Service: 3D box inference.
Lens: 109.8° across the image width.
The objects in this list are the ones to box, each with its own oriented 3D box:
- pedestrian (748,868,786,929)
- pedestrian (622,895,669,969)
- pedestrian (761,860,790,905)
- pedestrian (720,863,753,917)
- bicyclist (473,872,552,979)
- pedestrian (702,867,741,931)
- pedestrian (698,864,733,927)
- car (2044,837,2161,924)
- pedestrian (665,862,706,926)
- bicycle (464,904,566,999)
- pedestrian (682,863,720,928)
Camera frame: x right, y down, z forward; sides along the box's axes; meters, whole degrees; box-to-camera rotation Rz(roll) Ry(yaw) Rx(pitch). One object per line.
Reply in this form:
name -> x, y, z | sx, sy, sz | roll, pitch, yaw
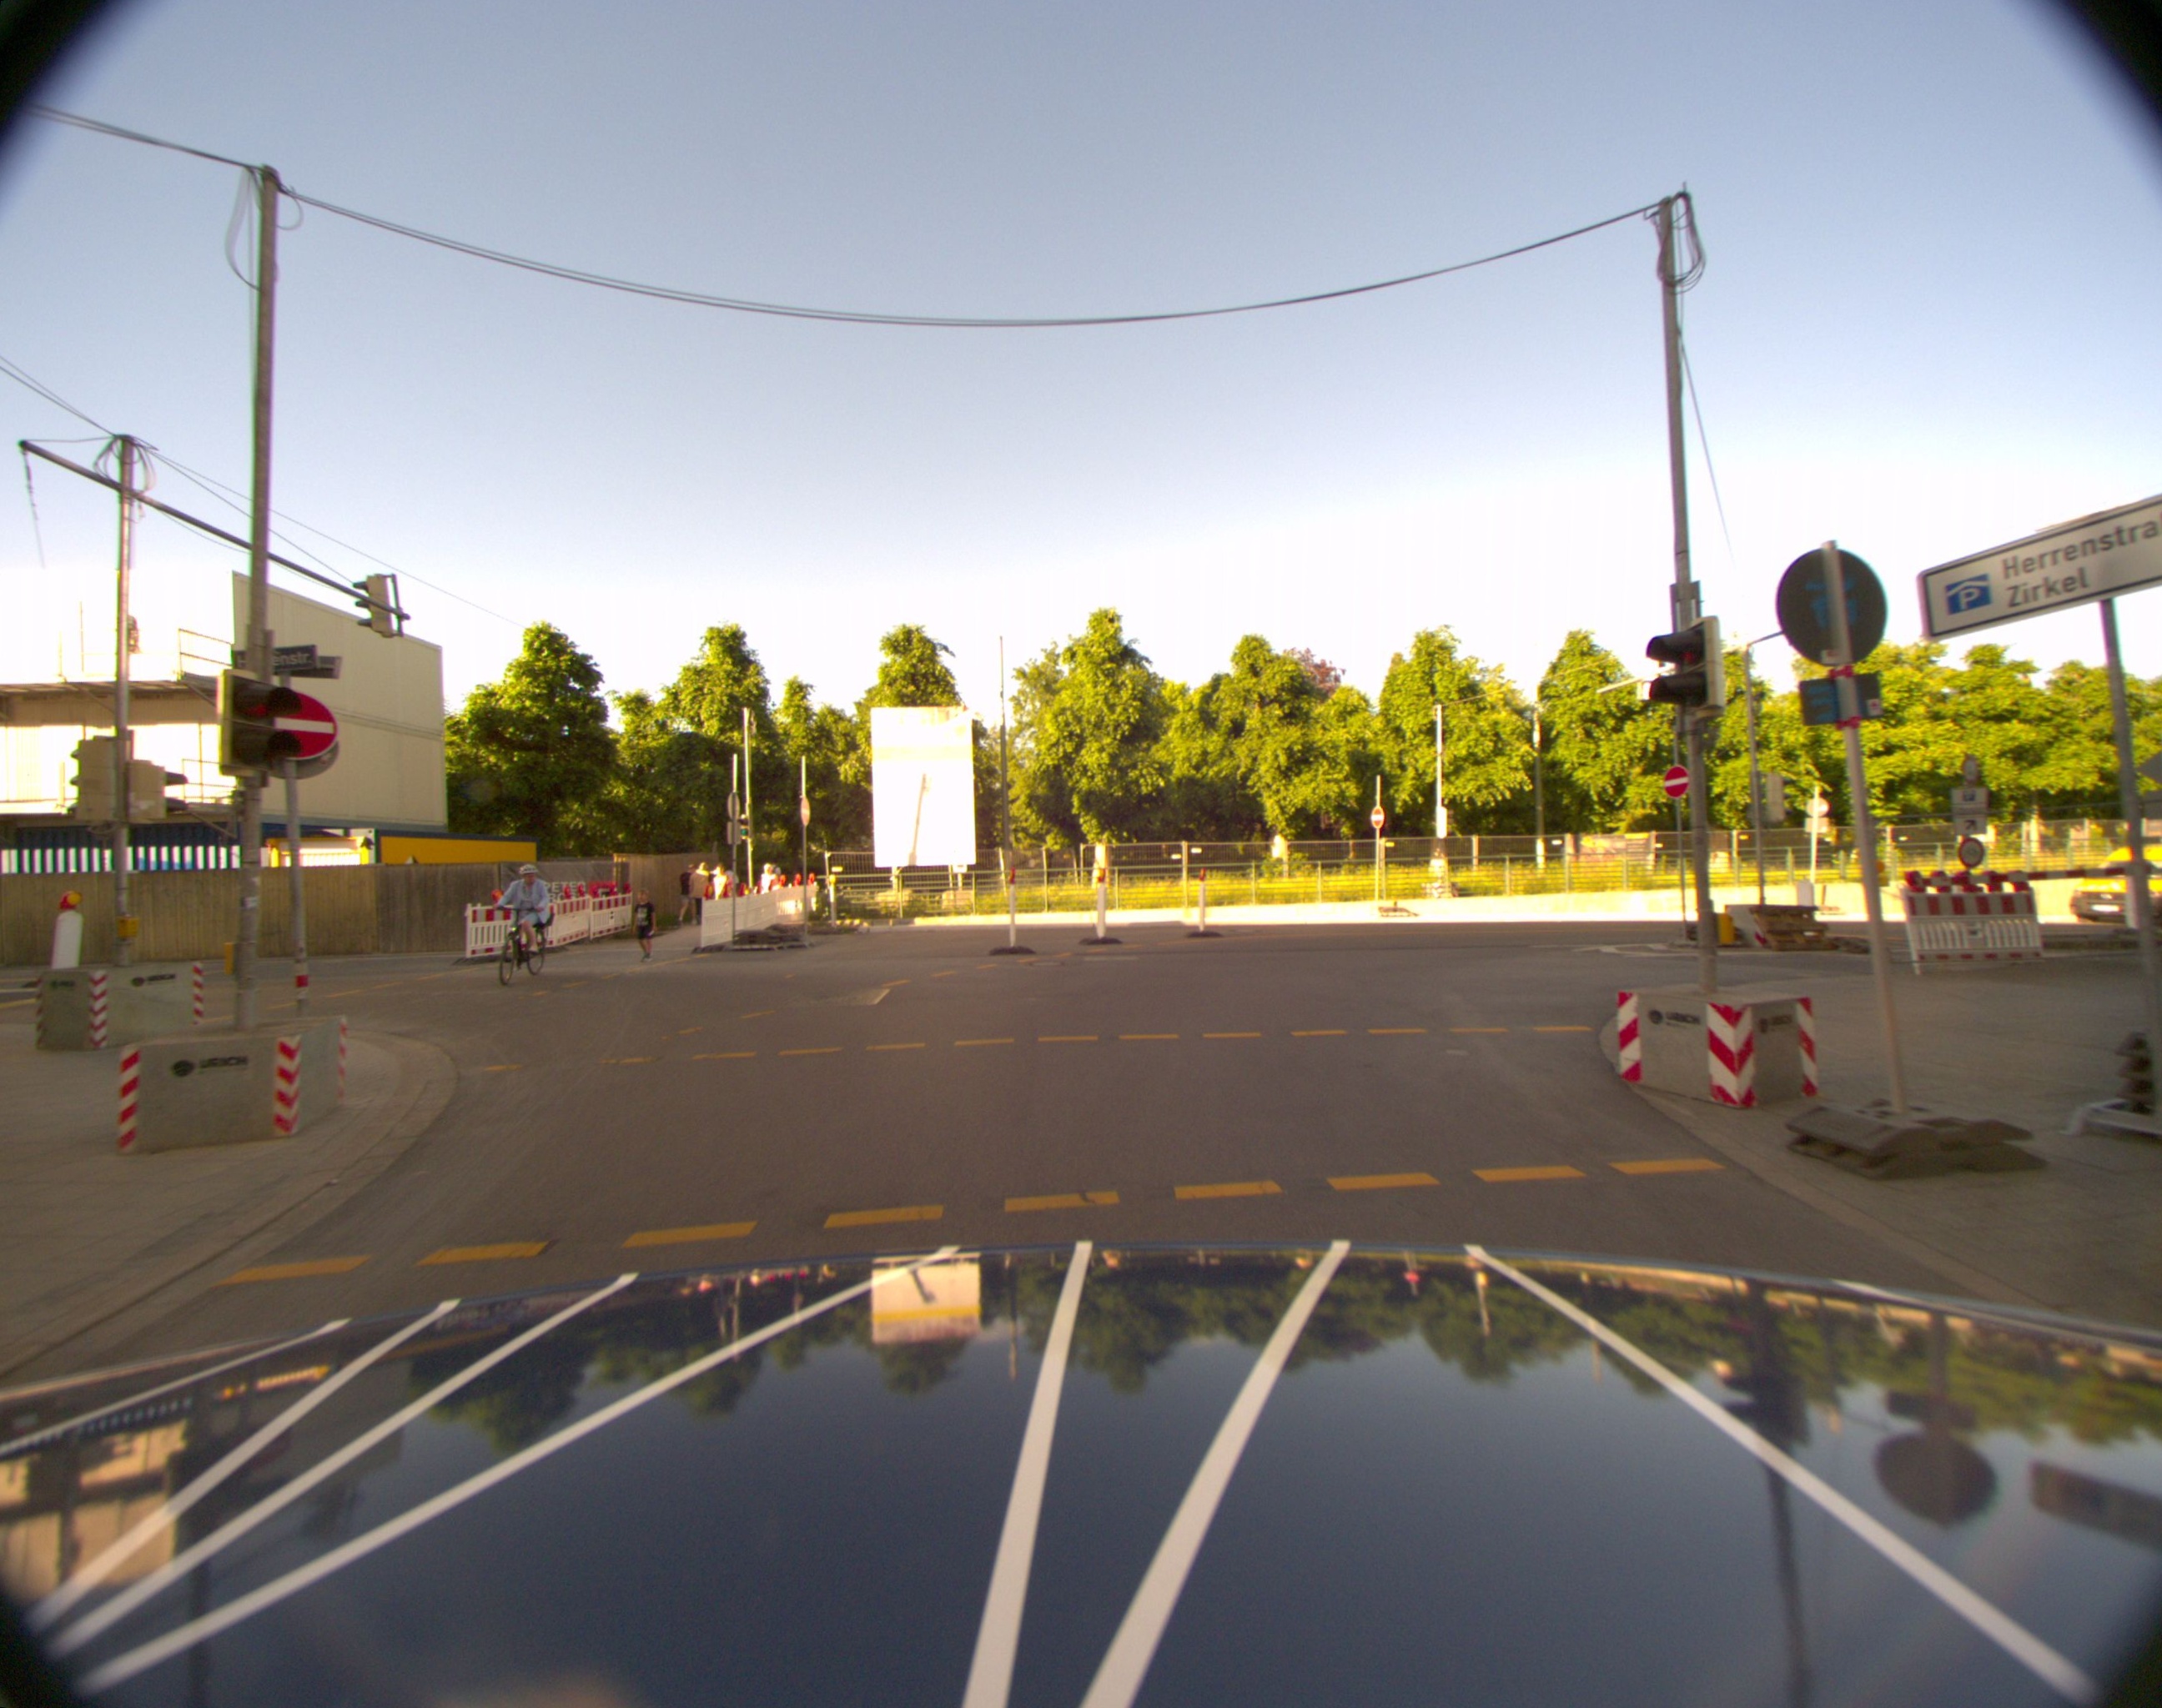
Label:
pedestrian -> -8.355, 1.166, 20.237 | 0.665, 1.557, 0.745 | -1, 1, -1
pedestrian -> -7.770, 1.378, 13.579 | 0.493, 1.291, 0.620 | -1, -2, -3
pedestrian -> -10.205, 0.934, 25.403 | 0.665, 1.454, 0.770 | -1, 1, -2
pedestrian -> -10.748, 1.108, 23.722 | 0.665, 1.609, 0.770 | -1, 1, -2
bicyclist -> -8.427, 1.038, 11.301 | 0.686, 1.507, 0.703 | -1, 0, -13
pedestrian -> -9.363, 1.161, 19.814 | 0.643, 1.595, 0.739 | -1, 1, -2
pedestrian -> -10.438, 1.171, 21.716 | 0.621, 1.761, 0.739 | -1, 1, -2
car -> 35.211, 0.874, 24.565 | 6.989, 2.609, 2.117 | 1, -1, -11
pedestrian -> -11.186, 1.126, 21.501 | 0.723, 1.761, 0.739 | -1, 1, -2
bicycle -> -8.432, 1.394, 11.413 | 0.477, 1.194, 1.997 | -1, -1, -14
pedestrian -> -10.380, 1.118, 20.779 | 0.621, 1.706, 0.739 | -1, 1, -2
